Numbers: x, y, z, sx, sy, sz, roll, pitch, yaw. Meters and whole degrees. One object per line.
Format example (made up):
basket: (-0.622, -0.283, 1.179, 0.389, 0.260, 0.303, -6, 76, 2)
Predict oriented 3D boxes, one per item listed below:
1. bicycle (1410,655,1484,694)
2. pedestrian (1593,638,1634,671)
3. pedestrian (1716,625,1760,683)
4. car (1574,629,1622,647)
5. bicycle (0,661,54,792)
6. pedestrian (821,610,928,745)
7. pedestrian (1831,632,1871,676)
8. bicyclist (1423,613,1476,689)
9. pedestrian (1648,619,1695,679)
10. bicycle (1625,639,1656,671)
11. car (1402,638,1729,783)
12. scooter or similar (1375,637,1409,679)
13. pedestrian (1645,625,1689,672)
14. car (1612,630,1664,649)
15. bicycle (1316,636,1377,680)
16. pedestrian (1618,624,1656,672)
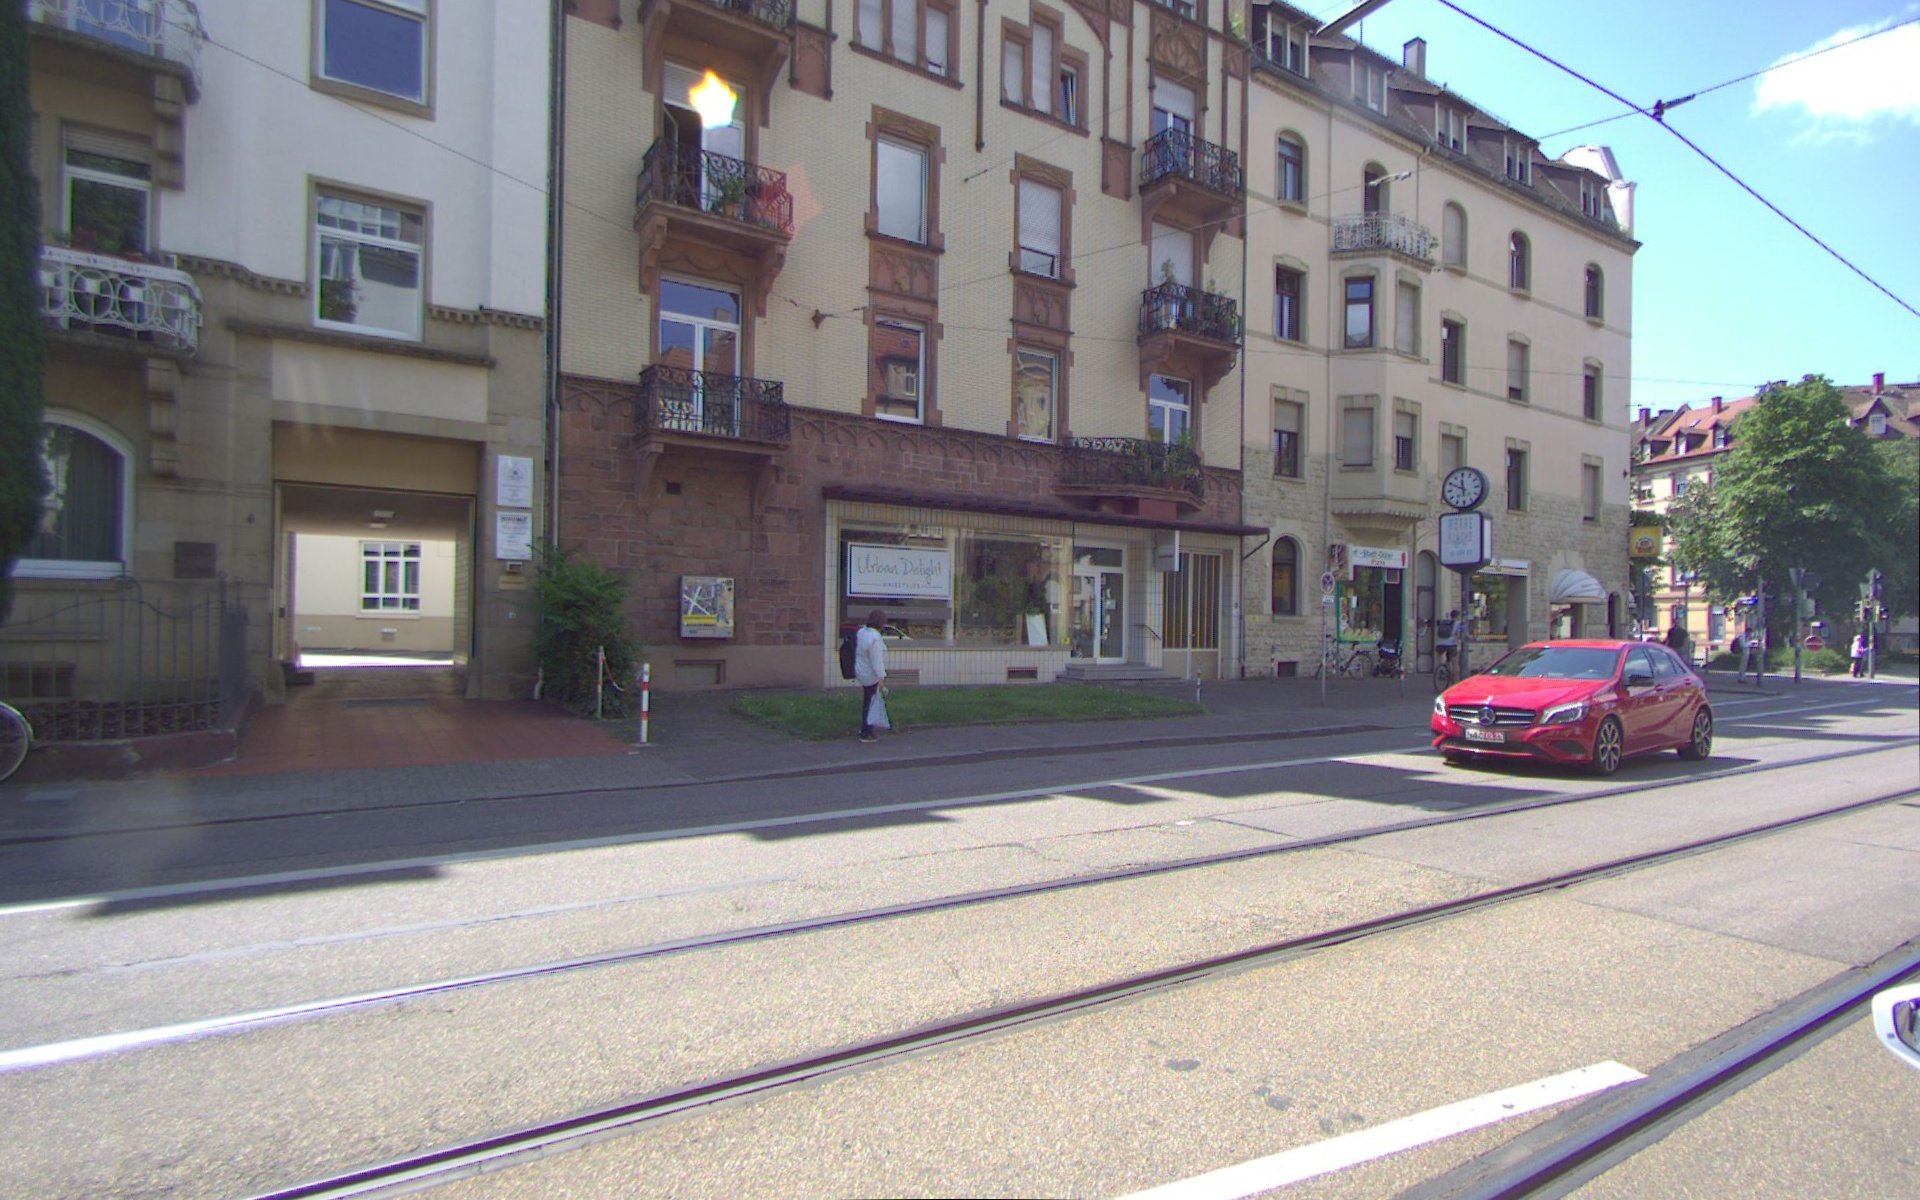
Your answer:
bicycle: (11.175, 1.703, 23.051, 1.802, 0.828, 0.747, 2, -2, -35)
pedestrian: (22.339, 1.846, 34.340, 0.873, 1.092, 0.911, 1, -1, -32)
pedestrian: (24.708, 1.704, 31.910, 0.766, 1.756, 0.855, 1, 0, -31)
car: (55.579, 3.303, 87.553, 1.654, 1.491, 3.467, 1, -1, -8)
bicycle: (-8.076, 0.960, 7.535, 1.822, 0.973, 0.408, 3, 1, -34)
pedestrian: (-1.051, 0.911, 12.266, 0.975, 1.563, 0.895, 1, -1, -36)
pedestrian: (36.206, 2.184, 40.816, 0.825, 1.746, 0.918, 1, -1, -8)
bicyclist: (11.255, 1.171, 23.100, 0.823, 1.685, 0.751, 2, 0, -36)
pedestrian: (23.062, 1.571, 32.540, 1.152, 1.916, 0.895, 1, -1, -34)
bicycle: (24.864, 2.019, 36.734, 0.534, 1.143, 1.683, 1, -3, 20)
car: (7.336, 1.185, 12.026, 4.387, 1.432, 1.810, 2, -3, -36)
scooter or similar: (11.757, 1.576, 27.377, 0.682, 1.058, 1.210, 2, 0, 17)
pedestrian: (25.831, 1.761, 36.731, 0.847, 1.657, 1.025, 1, -1, -6)
car: (56.484, 3.315, 83.745, 1.654, 1.491, 3.467, 1, -1, -8)
bicycle: (10.010, 1.502, 26.017, 1.438, 1.080, 0.370, 3, 0, -10)
pedestrian: (23.086, 1.634, 34.266, 0.910, 1.616, 0.802, 1, -1, -34)
